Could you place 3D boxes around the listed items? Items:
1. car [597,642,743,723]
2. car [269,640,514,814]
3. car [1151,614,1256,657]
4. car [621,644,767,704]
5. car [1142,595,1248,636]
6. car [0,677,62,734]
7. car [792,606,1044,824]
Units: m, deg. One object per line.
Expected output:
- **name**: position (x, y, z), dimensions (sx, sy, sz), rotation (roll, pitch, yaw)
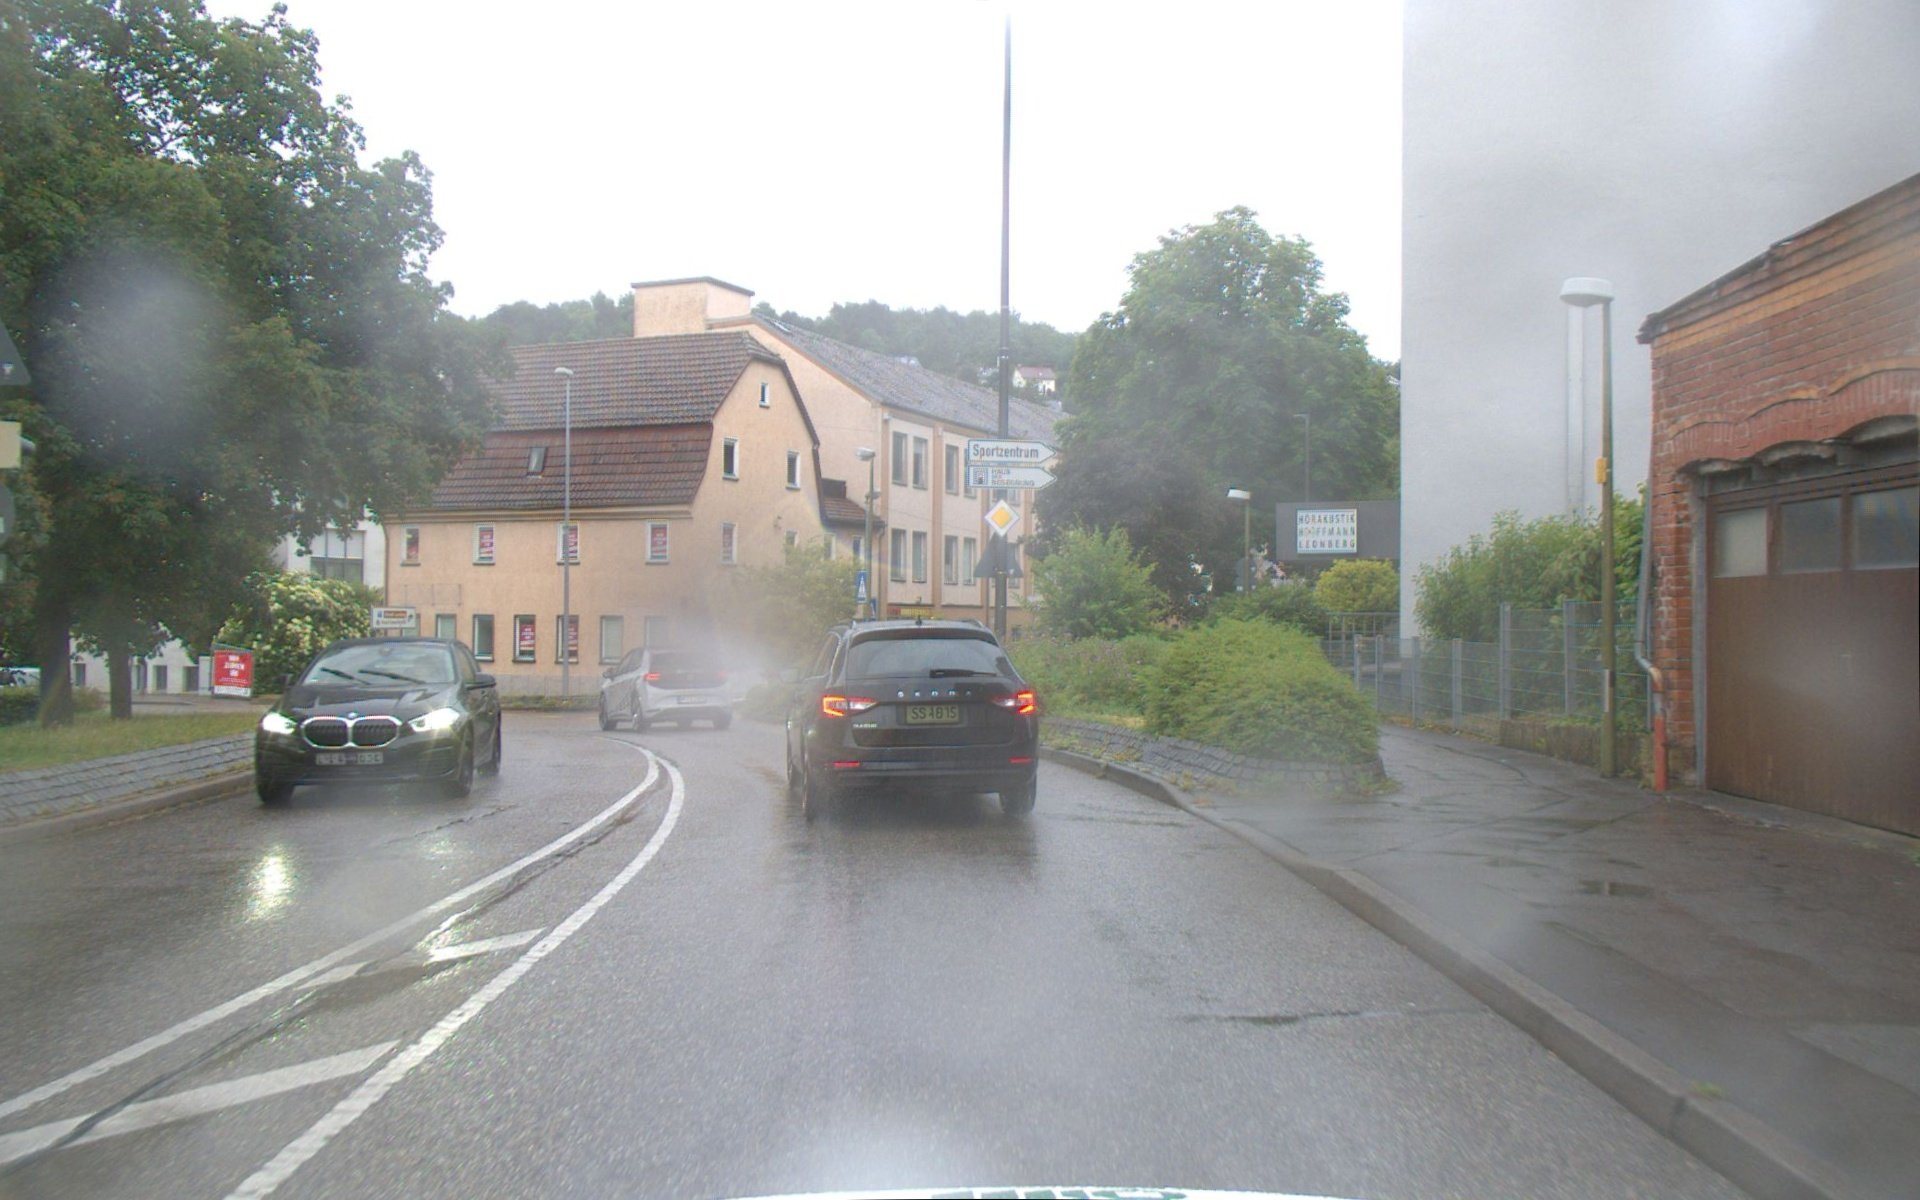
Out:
- **car**: position (-5.494, 1.491, 31.014), dimensions (1.794, 1.383, 3.959), rotation (0, -1, -24)
- **car**: position (-5.332, 1.111, 15.979), dimensions (1.705, 1.435, 4.042), rotation (0, -1, -11)
- **car**: position (9.776, 1.436, 66.331), dimensions (3.814, 1.600, 1.718), rotation (-2, -1, 24)
- **car**: position (-7.507, 2.062, 46.649), dimensions (3.708, 1.478, 1.696), rotation (-2, -1, -28)
- **car**: position (9.913, 0.668, 69.739), dimensions (4.310, 1.600, 1.720), rotation (-2, -1, 10)
- **car**: position (-29.866, 3.243, 51.402), dimensions (3.609, 1.618, 1.895), rotation (-1, 0, 31)
- **car**: position (-0.499, 0.819, 13.767), dimensions (1.748, 1.509, 4.240), rotation (0, 0, -6)
